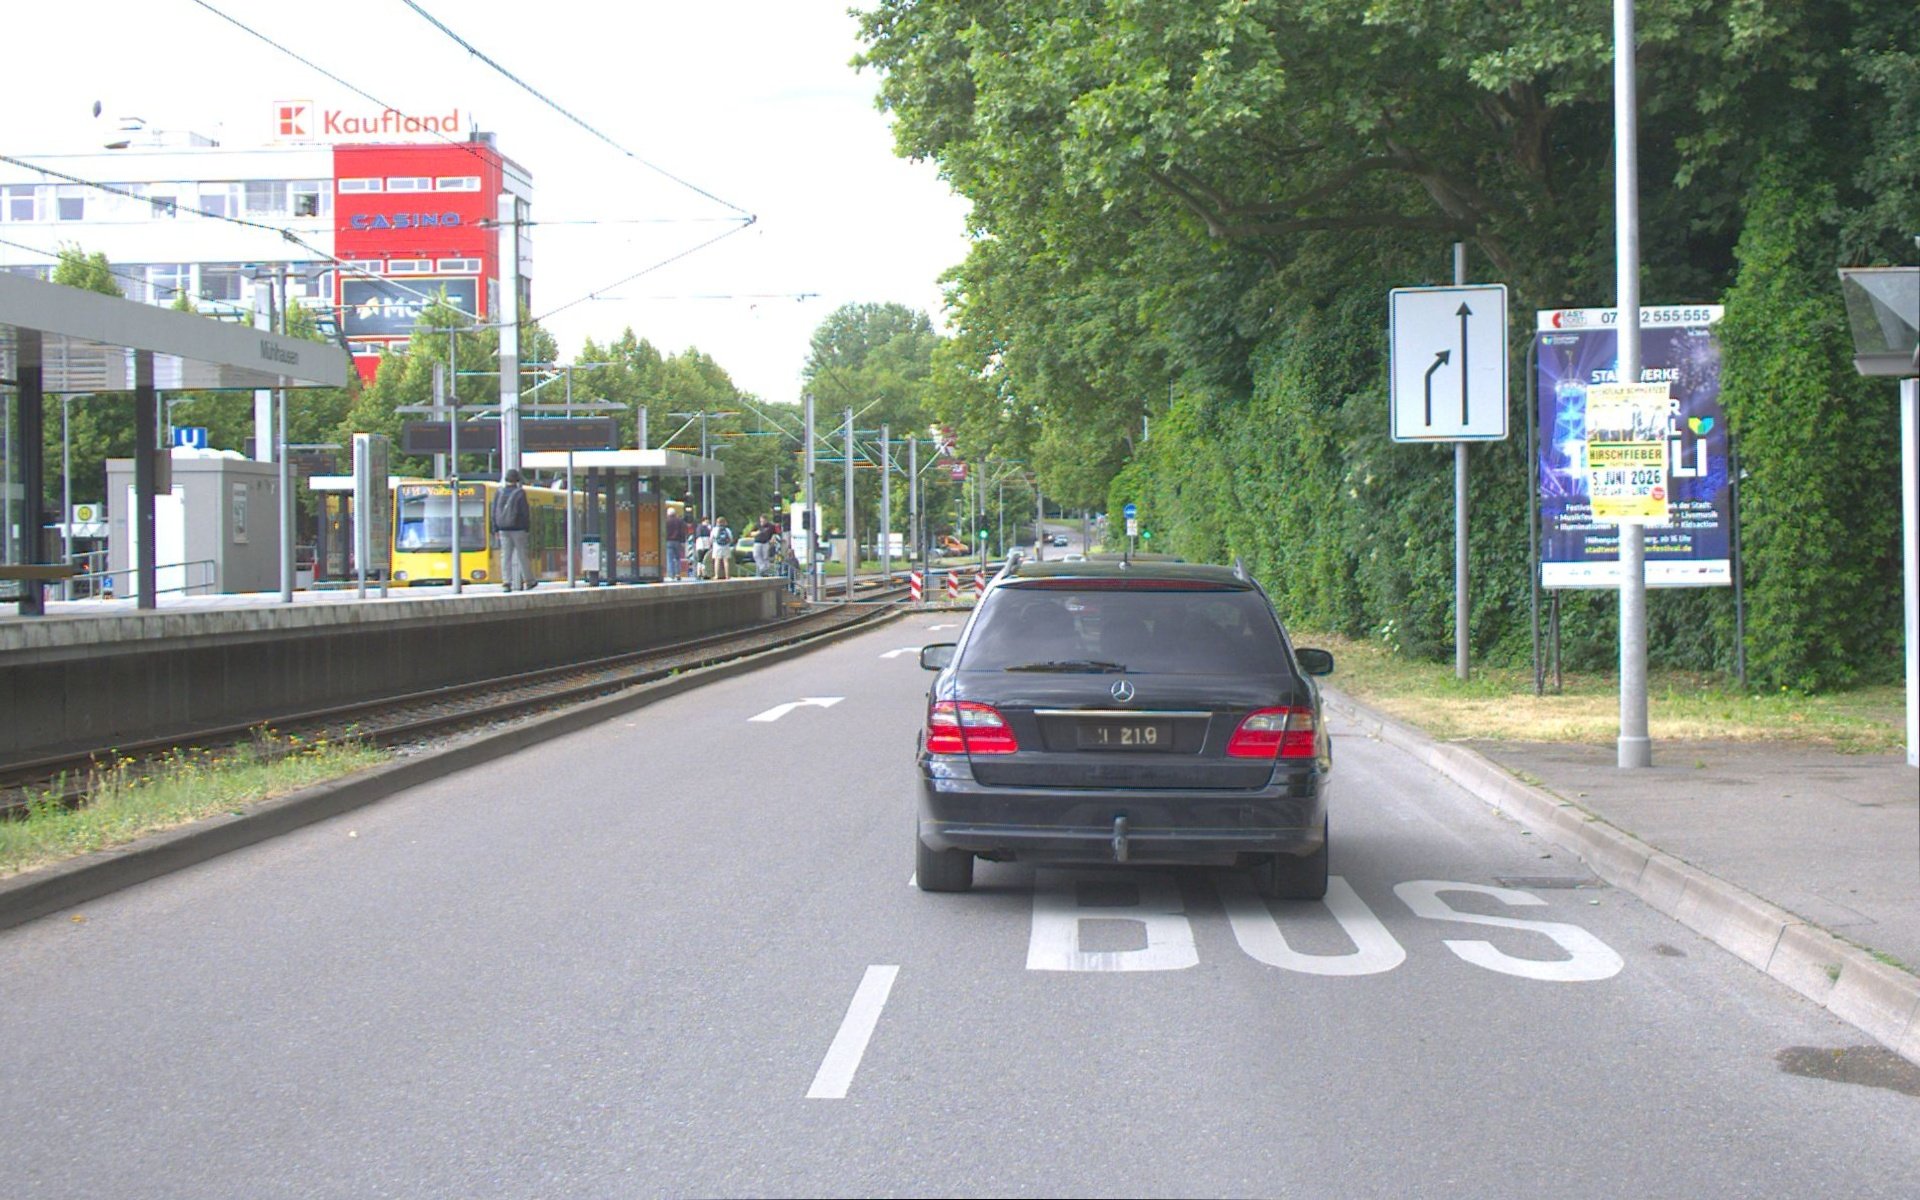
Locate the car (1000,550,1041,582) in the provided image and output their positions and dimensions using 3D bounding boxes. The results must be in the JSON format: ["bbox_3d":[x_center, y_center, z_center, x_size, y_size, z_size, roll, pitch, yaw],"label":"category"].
[{"bbox_3d":[3.000,-1.681,169.007,1.825,1.525,3.927,0,1,4],"label":"car"}]

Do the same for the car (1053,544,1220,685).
[{"bbox_3d":[2.017,0.125,40.358,1.825,1.524,4.416,1,1,1],"label":"car"}]

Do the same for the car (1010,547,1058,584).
[{"bbox_3d":[3.136,-1.459,145.266,1.825,1.524,4.415,1,1,4],"label":"car"}]

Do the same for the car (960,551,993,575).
[{"bbox_3d":[1.048,-2.350,217.595,1.825,1.524,3.927,1,1,4],"label":"car"}]

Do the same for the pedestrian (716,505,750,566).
[{"bbox_3d":[-5.555,-1.581,84.208,0.520,1.477,0.580,-1,0,40],"label":"pedestrian"}]

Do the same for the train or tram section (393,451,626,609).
[{"bbox_3d":[-12.000,-1.871,94.041,2.757,3.869,18.630,-1,1,4],"label":"train or tram section"}]

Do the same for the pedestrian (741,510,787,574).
[{"bbox_3d":[-5.157,-1.526,90.454,0.874,1.672,0.745,-2,0,-44],"label":"pedestrian"}]

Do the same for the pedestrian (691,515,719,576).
[{"bbox_3d":[-6.336,-1.352,85.394,0.475,1.478,0.542,-2,0,-28],"label":"pedestrian"}]

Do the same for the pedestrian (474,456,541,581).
[{"bbox_3d":[-6.453,-1.154,49.032,0.749,1.738,0.937,-2,0,2],"label":"pedestrian"}]

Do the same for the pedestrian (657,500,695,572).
[{"bbox_3d":[-6.731,-1.515,81.575,0.771,1.672,0.791,-2,0,2],"label":"pedestrian"}]

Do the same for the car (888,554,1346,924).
[{"bbox_3d":[0.767,0.526,16.057,1.833,1.473,4.415,0,1,4],"label":"car"}]
